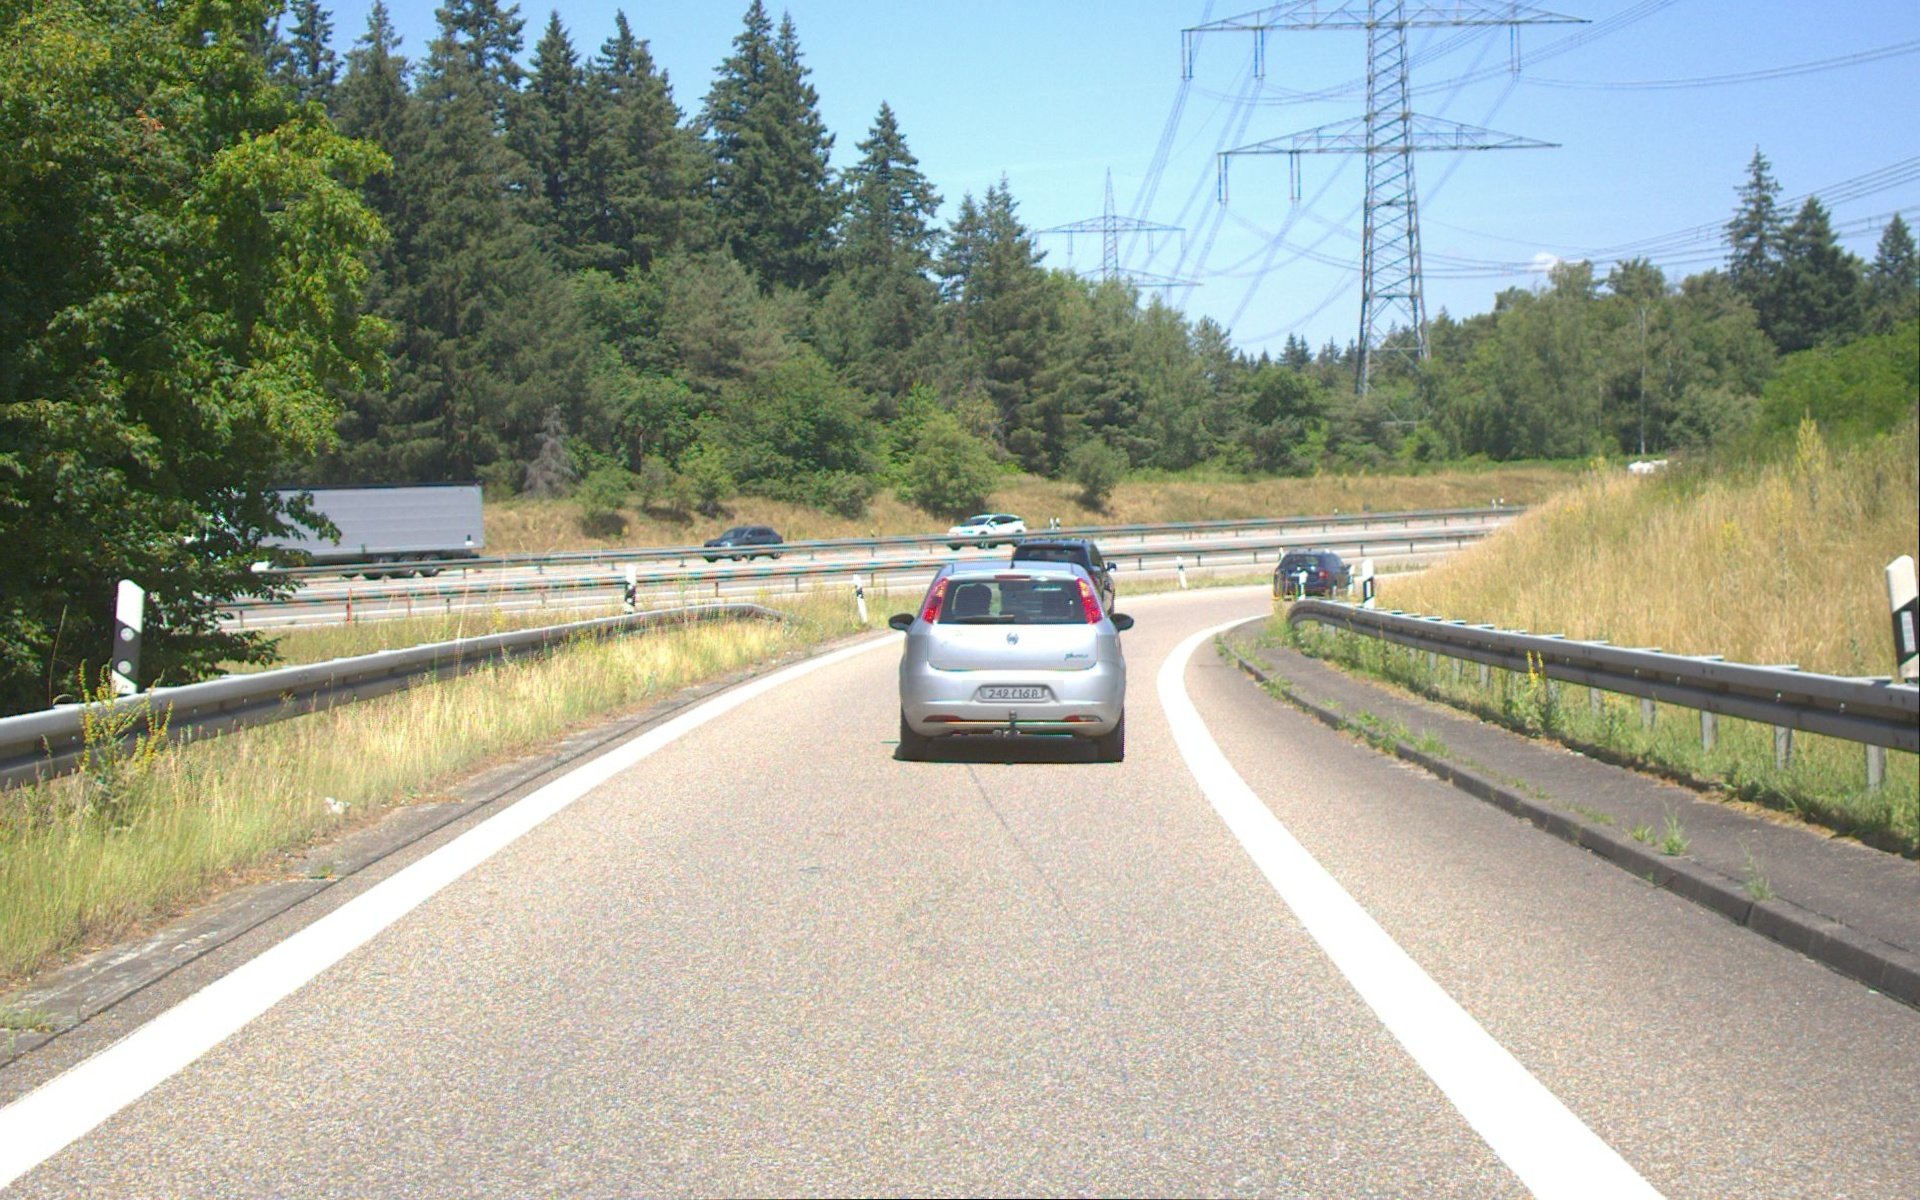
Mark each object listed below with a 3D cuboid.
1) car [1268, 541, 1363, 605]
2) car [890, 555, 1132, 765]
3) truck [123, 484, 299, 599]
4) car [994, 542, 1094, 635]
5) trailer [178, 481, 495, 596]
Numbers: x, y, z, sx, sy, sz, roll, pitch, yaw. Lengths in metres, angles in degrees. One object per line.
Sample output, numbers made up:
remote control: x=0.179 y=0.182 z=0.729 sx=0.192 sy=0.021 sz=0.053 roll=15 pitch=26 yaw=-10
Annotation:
car: x=10.402 y=-0.806 z=100.363 sx=1.883 sy=1.678 sz=3.997 roll=-2 pitch=1 yaw=18
car: x=0.329 y=0.432 z=26.208 sx=1.706 sy=1.477 sz=3.398 roll=1 pitch=0 yaw=-1
truck: x=-29.989 y=-2.378 z=137.800 sx=2.945 sy=4.377 sz=6.257 roll=-1 pitch=1 yaw=40
car: x=1.608 y=-0.241 z=64.938 sx=1.706 sy=1.670 sz=3.397 roll=0 pitch=1 yaw=4
trailer: x=-25.727 y=-2.633 z=142.917 sx=2.931 sy=4.372 sz=14.265 roll=-1 pitch=1 yaw=40
